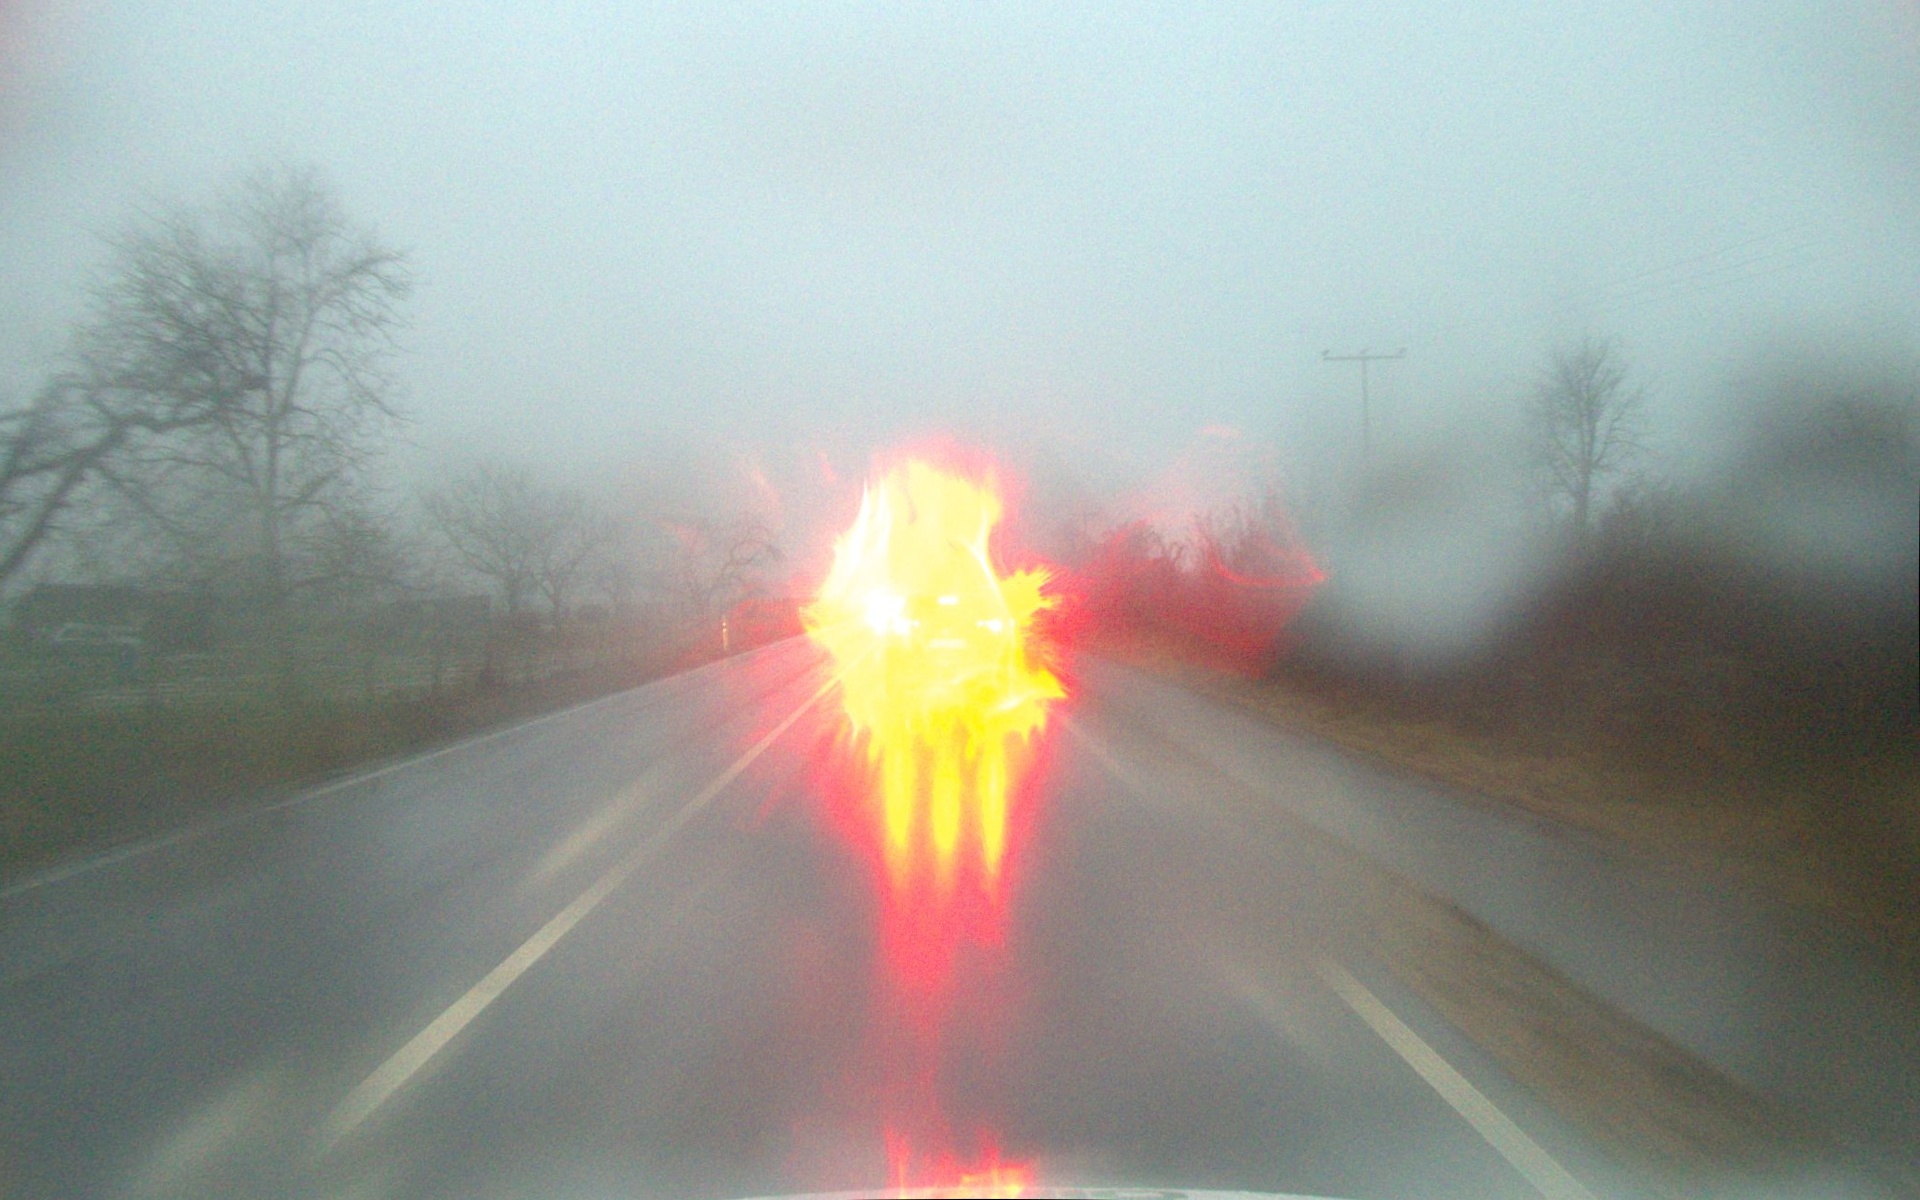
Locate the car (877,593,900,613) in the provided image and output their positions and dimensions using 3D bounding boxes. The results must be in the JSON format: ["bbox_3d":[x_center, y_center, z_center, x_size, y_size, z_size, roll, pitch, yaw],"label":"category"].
[{"bbox_3d":[-5.994,0.225,137.725,1.818,1.543,4.513,-2,0,-4],"label":"car"}]

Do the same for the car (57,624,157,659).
[{"bbox_3d":[-35.406,1.708,68.708,3.384,1.366,1.593,1,0,-16],"label":"car"}]

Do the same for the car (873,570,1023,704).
[{"bbox_3d":[-0.202,0.499,25.405,2.077,1.852,4.979,0,0,-1],"label":"car"}]
